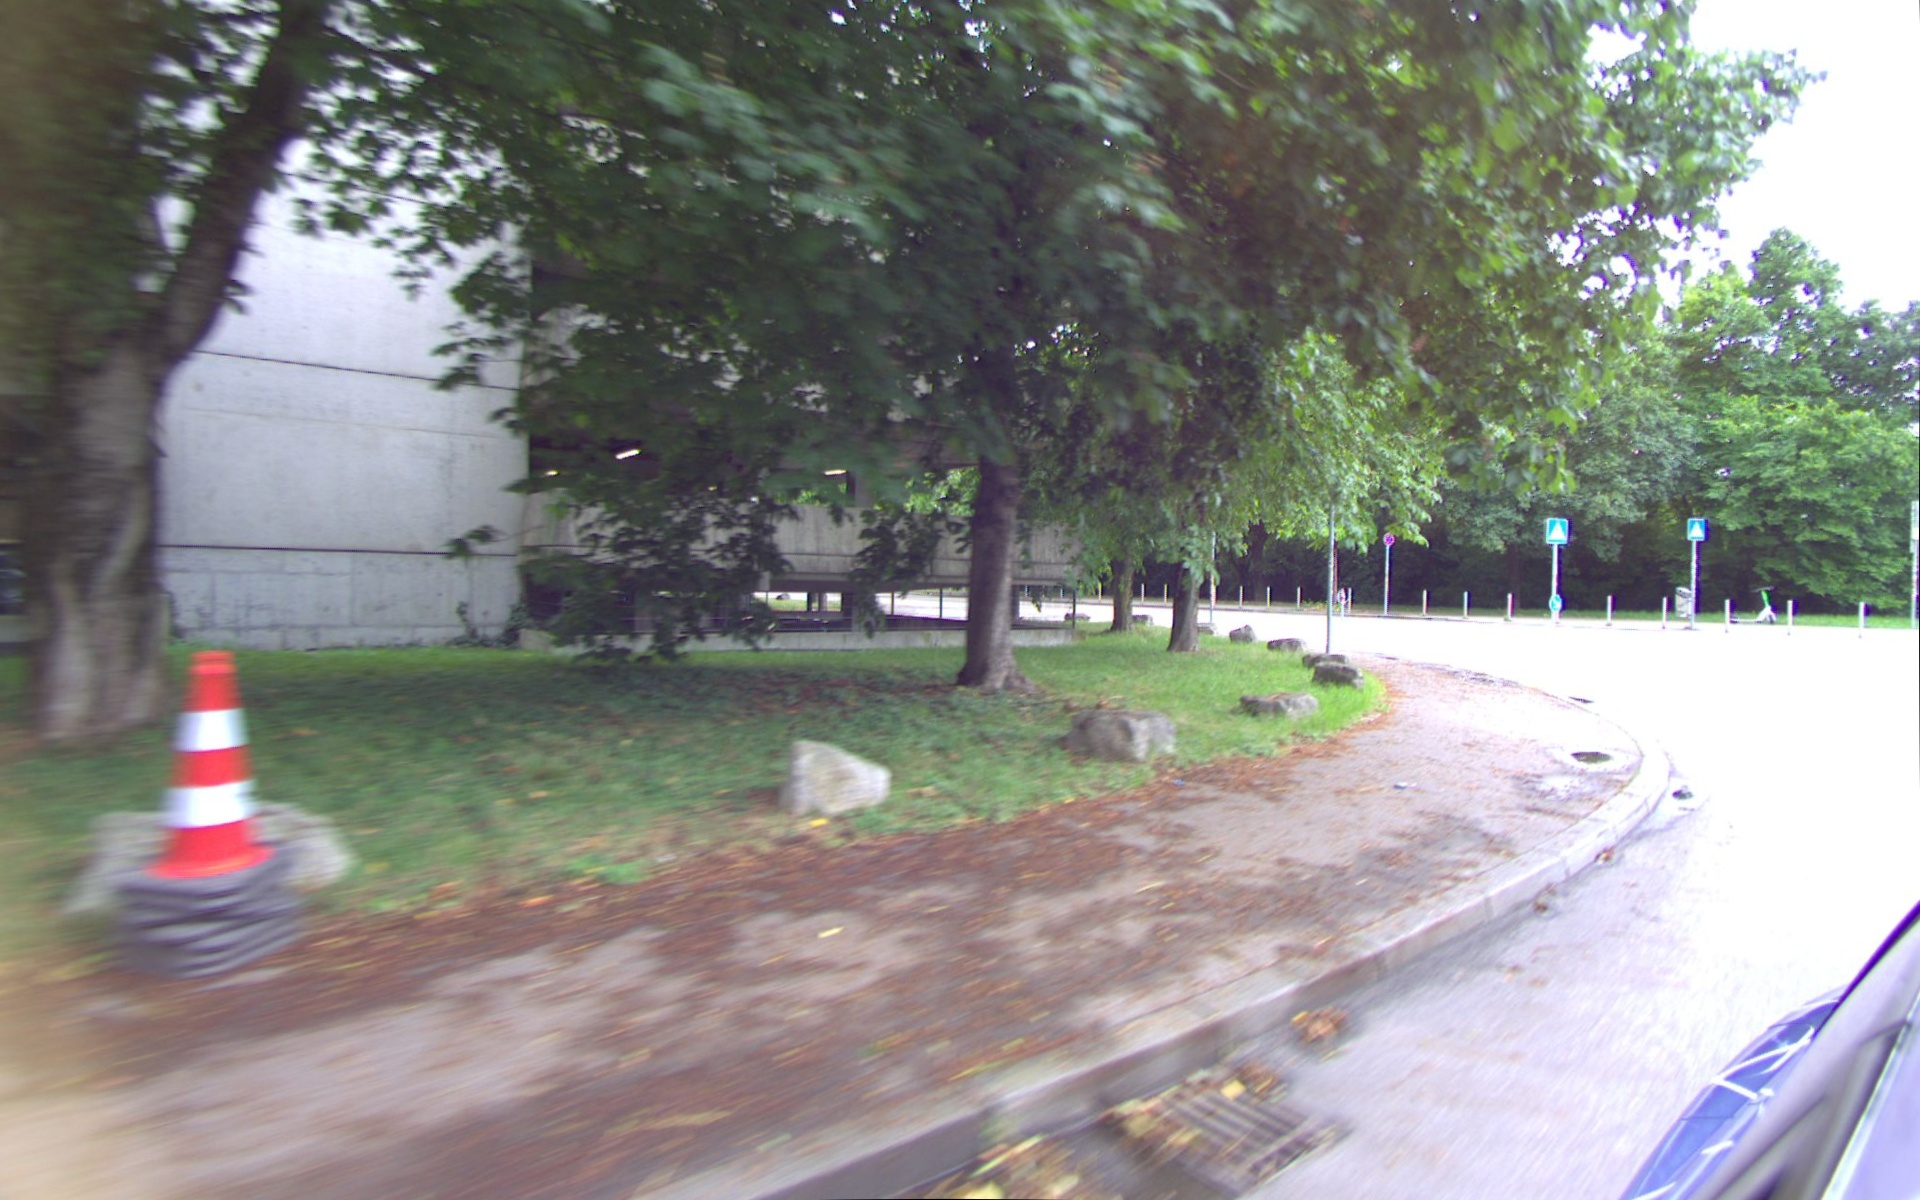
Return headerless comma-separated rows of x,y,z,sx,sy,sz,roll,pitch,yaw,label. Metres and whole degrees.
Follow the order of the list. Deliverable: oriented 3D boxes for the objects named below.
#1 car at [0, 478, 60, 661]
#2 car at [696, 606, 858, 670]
-11.927,-0.316,9.779,4.647,1.857,1.925,0,1,-37,car
-4.967,0.983,27.595,3.923,1.471,1.879,-1,1,-33,car
